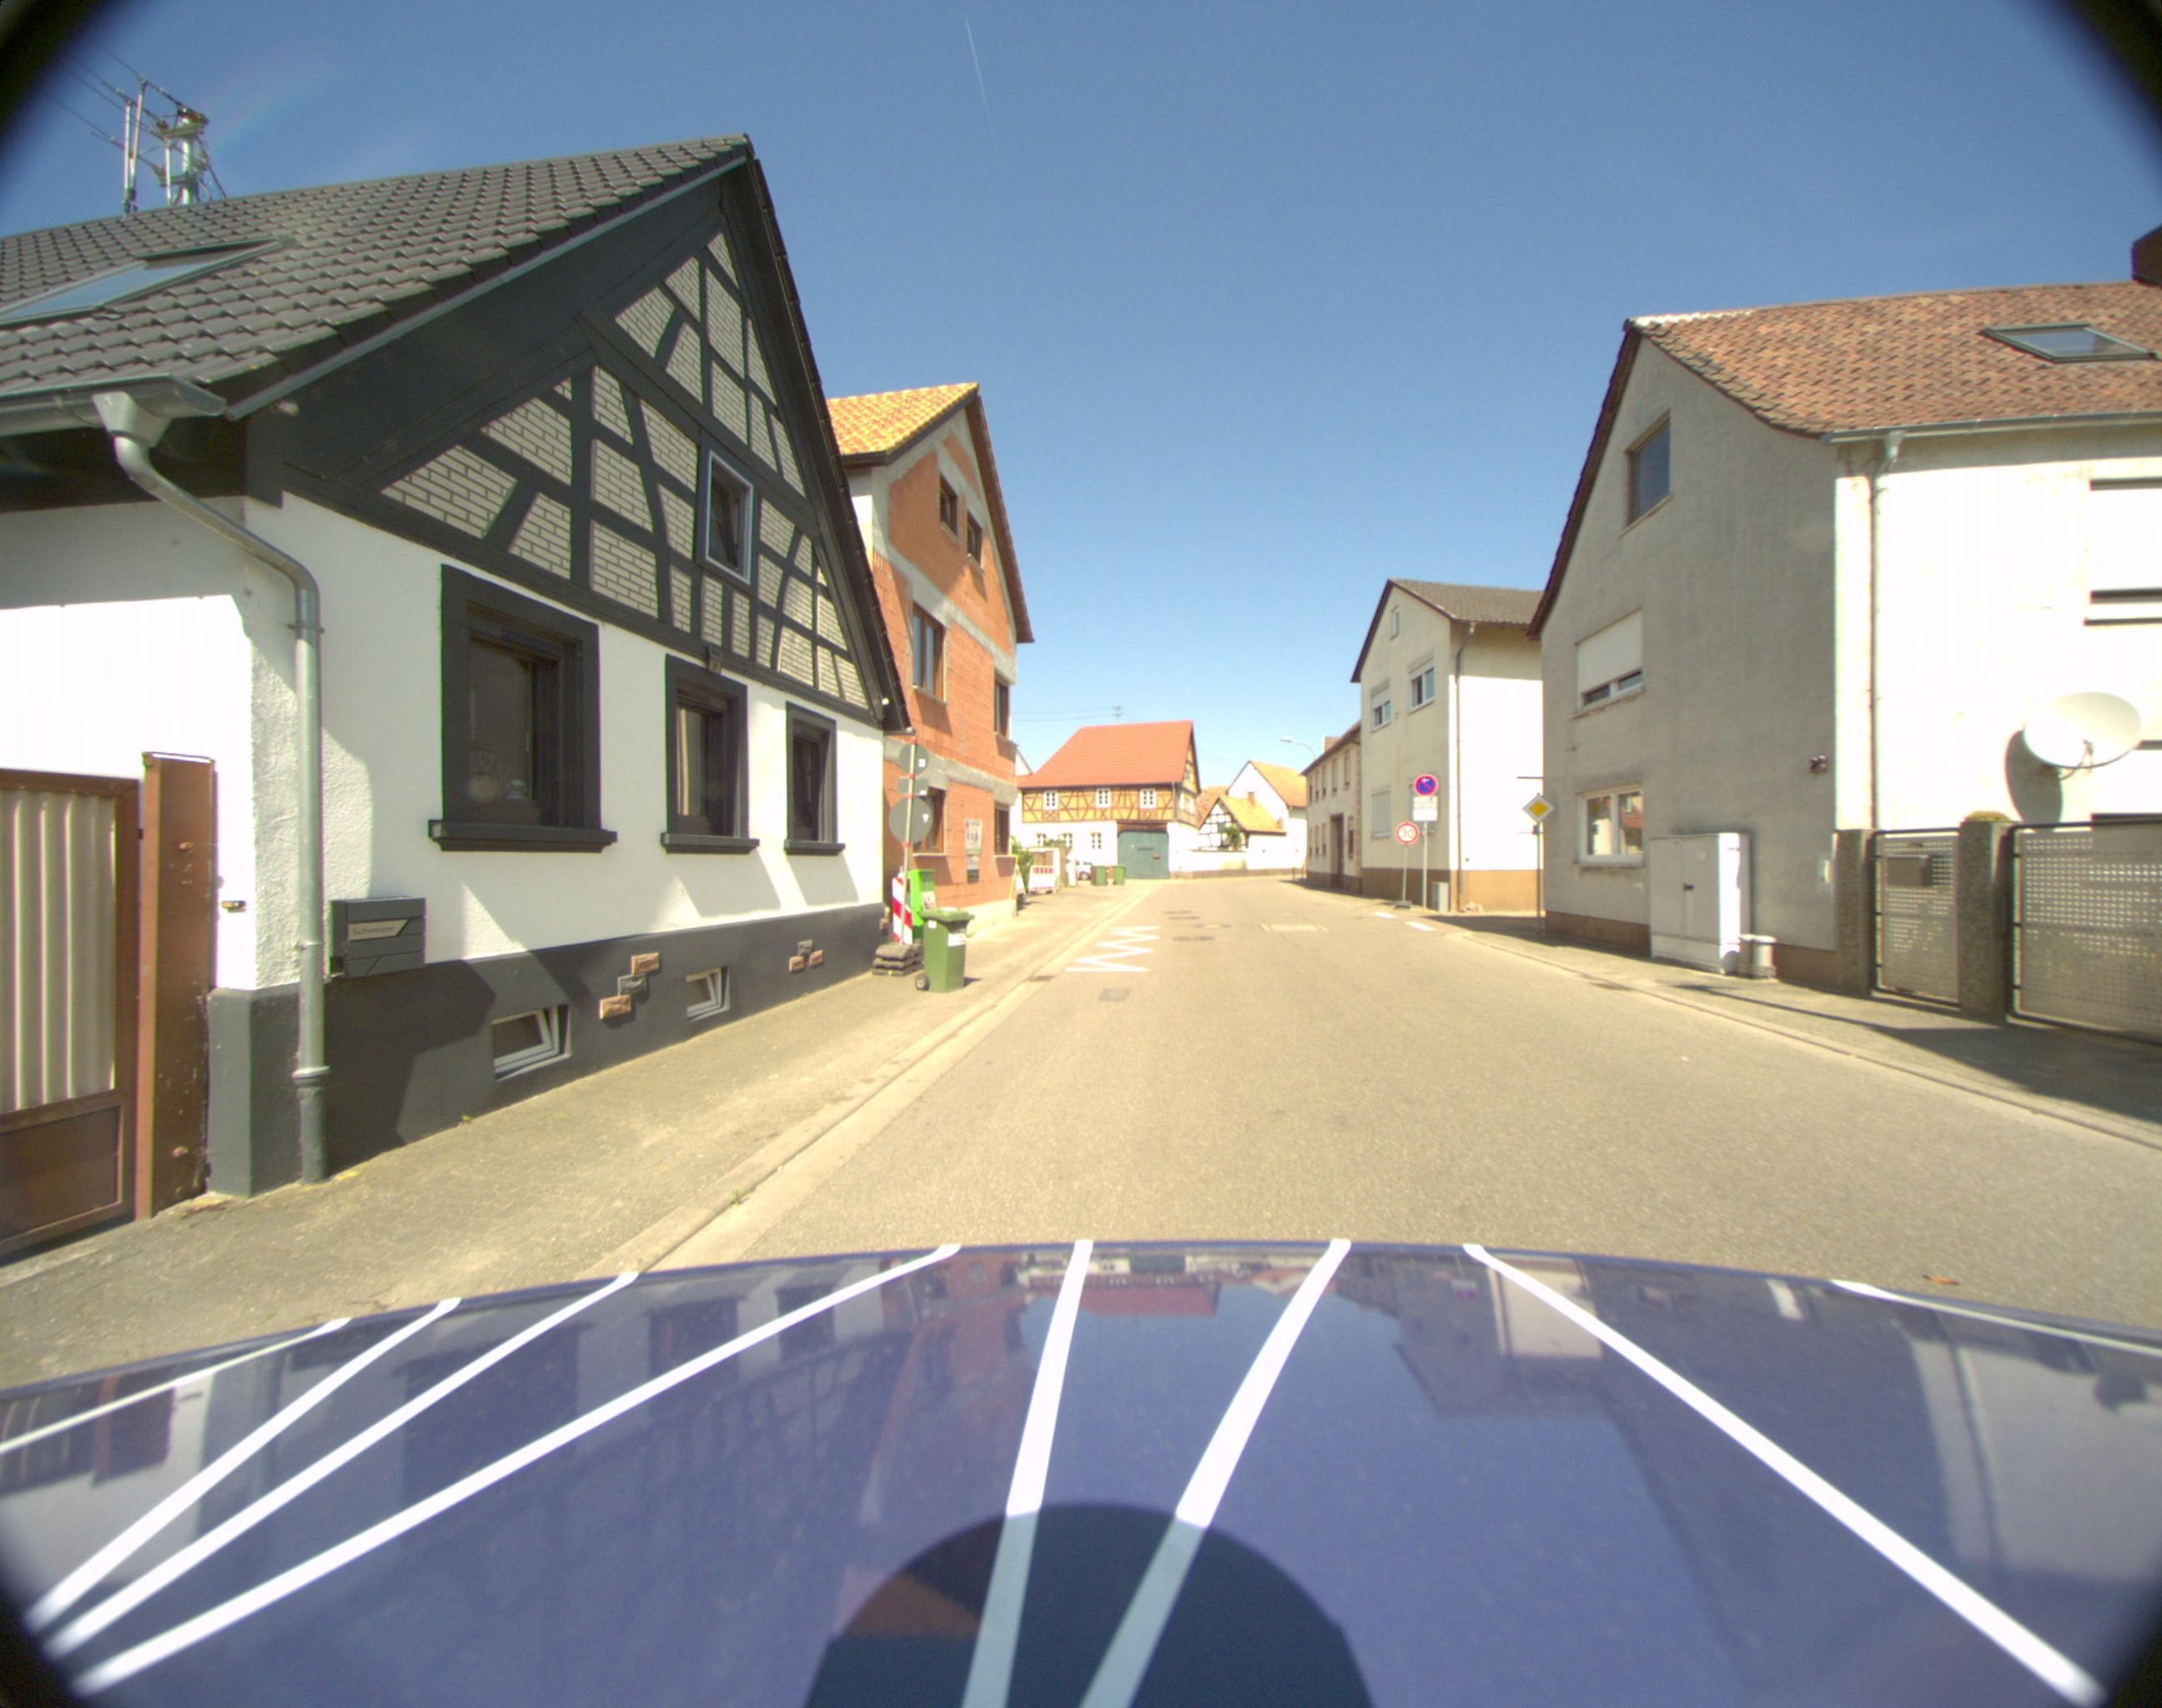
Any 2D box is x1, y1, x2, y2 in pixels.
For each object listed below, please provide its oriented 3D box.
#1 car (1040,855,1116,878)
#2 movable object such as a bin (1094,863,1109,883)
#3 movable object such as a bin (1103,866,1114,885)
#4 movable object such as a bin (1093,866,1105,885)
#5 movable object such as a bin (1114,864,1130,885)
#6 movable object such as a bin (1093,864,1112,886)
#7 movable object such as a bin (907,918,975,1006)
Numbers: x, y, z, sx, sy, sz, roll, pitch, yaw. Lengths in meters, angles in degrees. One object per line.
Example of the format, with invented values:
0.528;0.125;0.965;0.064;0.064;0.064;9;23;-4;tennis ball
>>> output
-0.203;0.814;51.215;4.757;1.443;2.003;0;0;20;car
1.130;1.052;42.162;0.721;1.075;0.756;0;0;13;movable object such as a bin
1.422;1.095;39.023;0.445;0.944;0.463;0;1;17;movable object such as a bin
0.926;1.093;39.055;0.465;0.965;0.497;0;0;16;movable object such as a bin
2.161;1.056;39.775;0.687;1.085;0.638;0;0;17;movable object such as a bin
1.059;1.036;37.765;0.762;1.066;0.671;0;0;-23;movable object such as a bin
-1.590;1.215;8.679;0.538;0.908;0.552;0;1;26;movable object such as a bin
